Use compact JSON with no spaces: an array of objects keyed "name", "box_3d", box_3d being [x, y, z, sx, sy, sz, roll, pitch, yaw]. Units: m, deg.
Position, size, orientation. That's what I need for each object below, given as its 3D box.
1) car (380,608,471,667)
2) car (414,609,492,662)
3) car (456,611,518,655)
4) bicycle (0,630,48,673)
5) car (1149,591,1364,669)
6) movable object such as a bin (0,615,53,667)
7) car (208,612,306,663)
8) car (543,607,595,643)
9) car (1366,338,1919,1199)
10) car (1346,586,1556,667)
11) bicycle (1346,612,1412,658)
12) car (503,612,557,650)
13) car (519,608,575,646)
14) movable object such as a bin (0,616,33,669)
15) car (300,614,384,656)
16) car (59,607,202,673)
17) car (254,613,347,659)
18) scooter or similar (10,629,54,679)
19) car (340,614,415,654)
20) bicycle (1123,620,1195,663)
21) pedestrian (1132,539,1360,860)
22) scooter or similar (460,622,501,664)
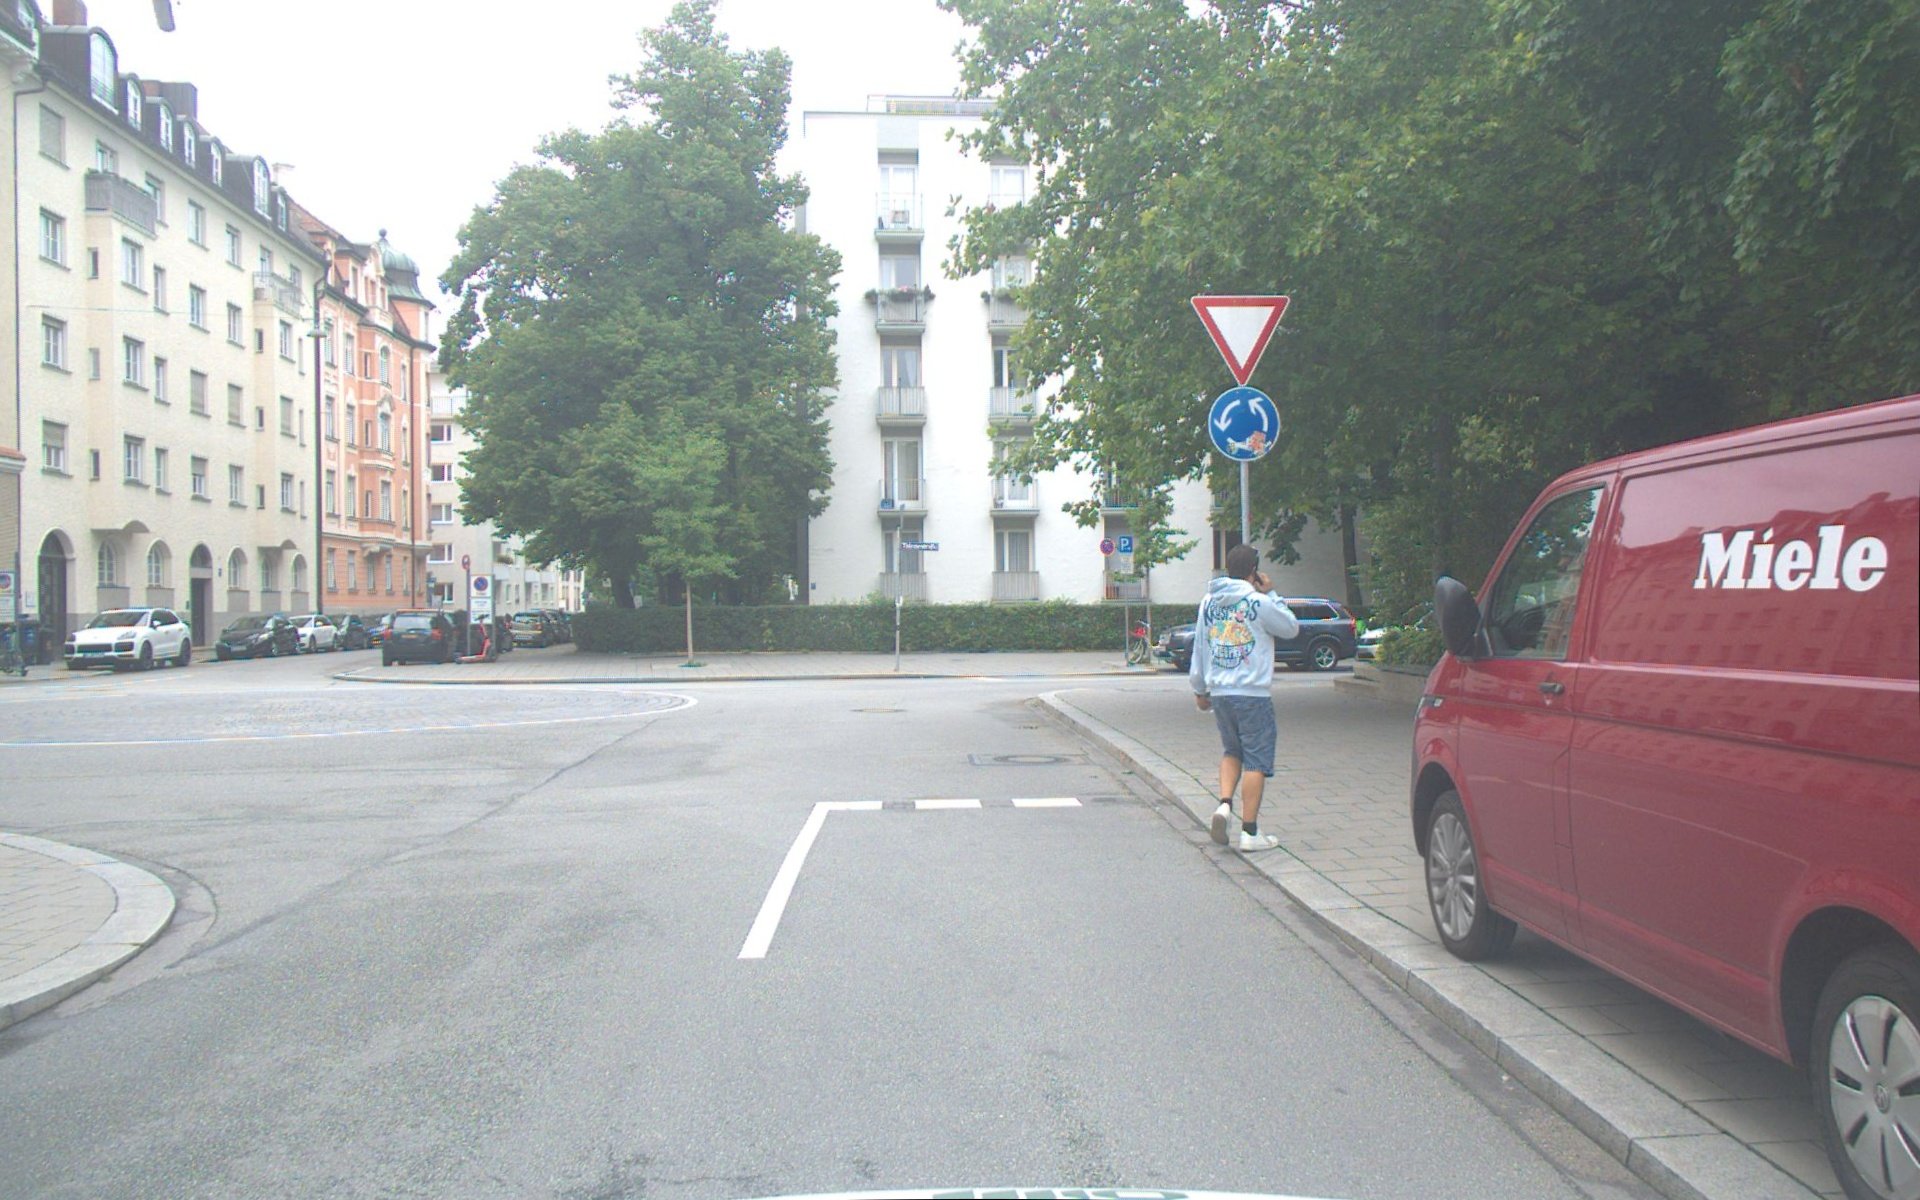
[{"name":"car","box_3d":[-14.985,1.012,46.549,1.786,1.531,4.411,-2,0,-10]},{"name":"car","box_3d":[-15.816,1.070,51.736,1.761,1.531,4.224,-2,0,-10]},{"name":"car","box_3d":[-17.676,1.202,61.933,1.761,1.531,4.105,-2,0,-10]},{"name":"bicycle","box_3d":[-24.668,1.335,43.455,0.552,1.067,1.828,-1,0,-6]},{"name":"car","box_3d":[7.242,0.726,40.595,4.807,1.823,1.995,0,-1,-10]},{"name":"movable object such as a bin","box_3d":[-26.754,1.174,47.266,1.069,1.450,1.173,-1,0,-4]},{"name":"car","box_3d":[-23.947,1.236,56.498,1.938,1.644,4.703,0,0,-8]},{"name":"car","box_3d":[-19.633,1.245,83.213,1.798,1.663,3.817,-2,0,-3]},{"name":"car","box_3d":[2.905,0.429,5.286,1.836,1.954,4.885,1,0,-2]},{"name":"car","box_3d":[12.338,0.661,41.638,4.746,1.952,1.830,0,-1,-11]},{"name":"bicycle","box_3d":[11.040,0.916,43.615,0.531,1.169,1.810,-1,0,-32]},{"name":"car","box_3d":[-18.924,1.339,72.964,1.801,1.531,4.107,-2,0,-8]},{"name":"car","box_3d":[-19.327,1.231,77.556,1.799,1.663,4.111,-2,0,-4]},{"name":"movable object such as a bin","box_3d":[-26.689,1.168,46.071,1.069,1.450,1.173,-1,0,-4]},{"name":"car","box_3d":[-24.800,1.379,66.503,1.936,1.608,4.404,0,0,-4]},{"name":"car","box_3d":[-22.952,1.055,45.992,1.937,1.730,4.834,0,0,-6]},{"name":"car","box_3d":[-24.409,1.314,61.355,1.936,1.608,4.404,0,0,-4]},{"name":"scooter or similar","box_3d":[-22.870,1.329,40.770,1.190,1.214,0.466,-1,-1,34]},{"name":"car","box_3d":[-25.128,1.439,71.490,1.936,1.608,4.405,0,0,-3]},{"name":"bicycle","box_3d":[5.155,1.063,42.825,1.795,1.067,0.489,-1,0,-16]},{"name":"pedestrian","box_3d":[1.719,0.559,9.966,1.040,1.802,0.865,0,-1,-36]},{"name":"scooter or similar","box_3d":[-12.763,1.145,44.009,0.989,1.108,0.386,0,-1,-33]}]
